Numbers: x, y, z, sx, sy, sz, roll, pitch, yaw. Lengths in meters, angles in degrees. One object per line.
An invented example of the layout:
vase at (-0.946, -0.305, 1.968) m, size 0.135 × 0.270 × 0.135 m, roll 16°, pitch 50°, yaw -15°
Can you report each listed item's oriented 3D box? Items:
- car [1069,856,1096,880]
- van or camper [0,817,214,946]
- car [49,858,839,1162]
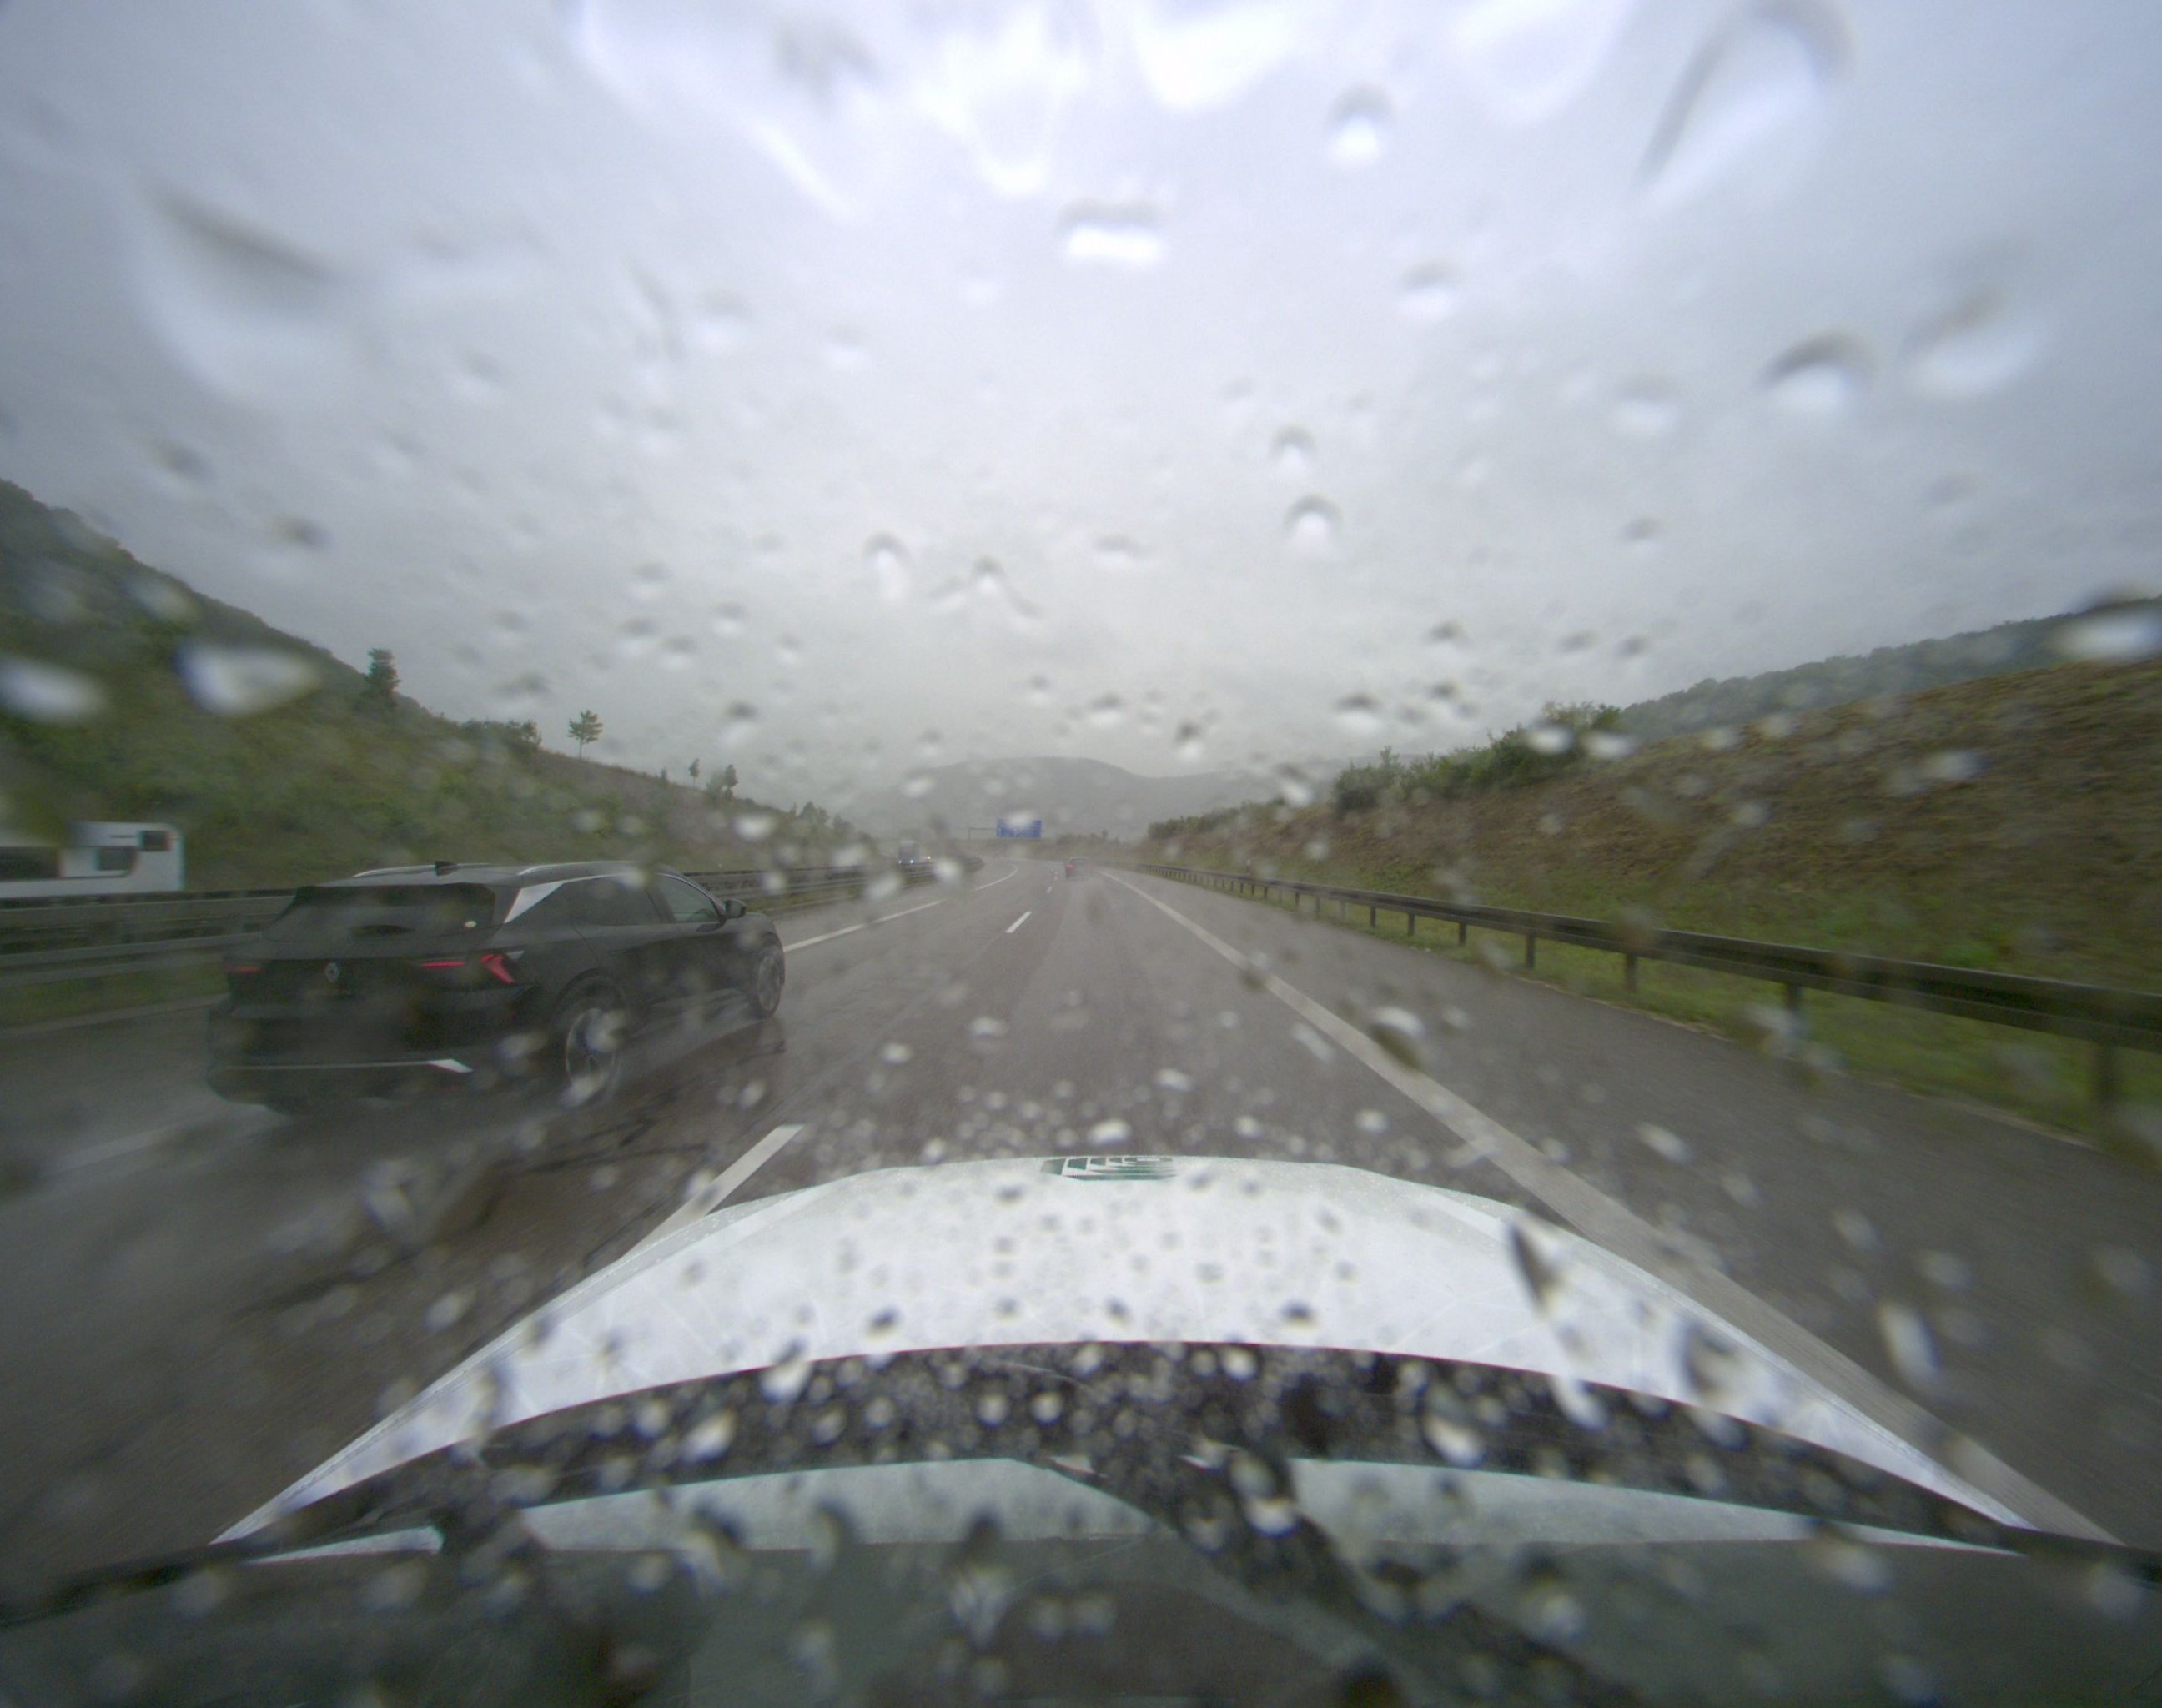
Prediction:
car at (0.124, 0.897, 52.757) m, size 1.673 × 1.472 × 3.816 m, roll 0°, pitch 0°, yaw 2°
van or camper at (-22.738, 0.569, 16.599) m, size 2.336 × 2.564 × 7.206 m, roll -1°, pitch 0°, yaw 1°
car at (-3.965, 0.801, 6.525) m, size 2.396 × 1.515 × 4.787 m, roll 0°, pitch 0°, yaw 3°
